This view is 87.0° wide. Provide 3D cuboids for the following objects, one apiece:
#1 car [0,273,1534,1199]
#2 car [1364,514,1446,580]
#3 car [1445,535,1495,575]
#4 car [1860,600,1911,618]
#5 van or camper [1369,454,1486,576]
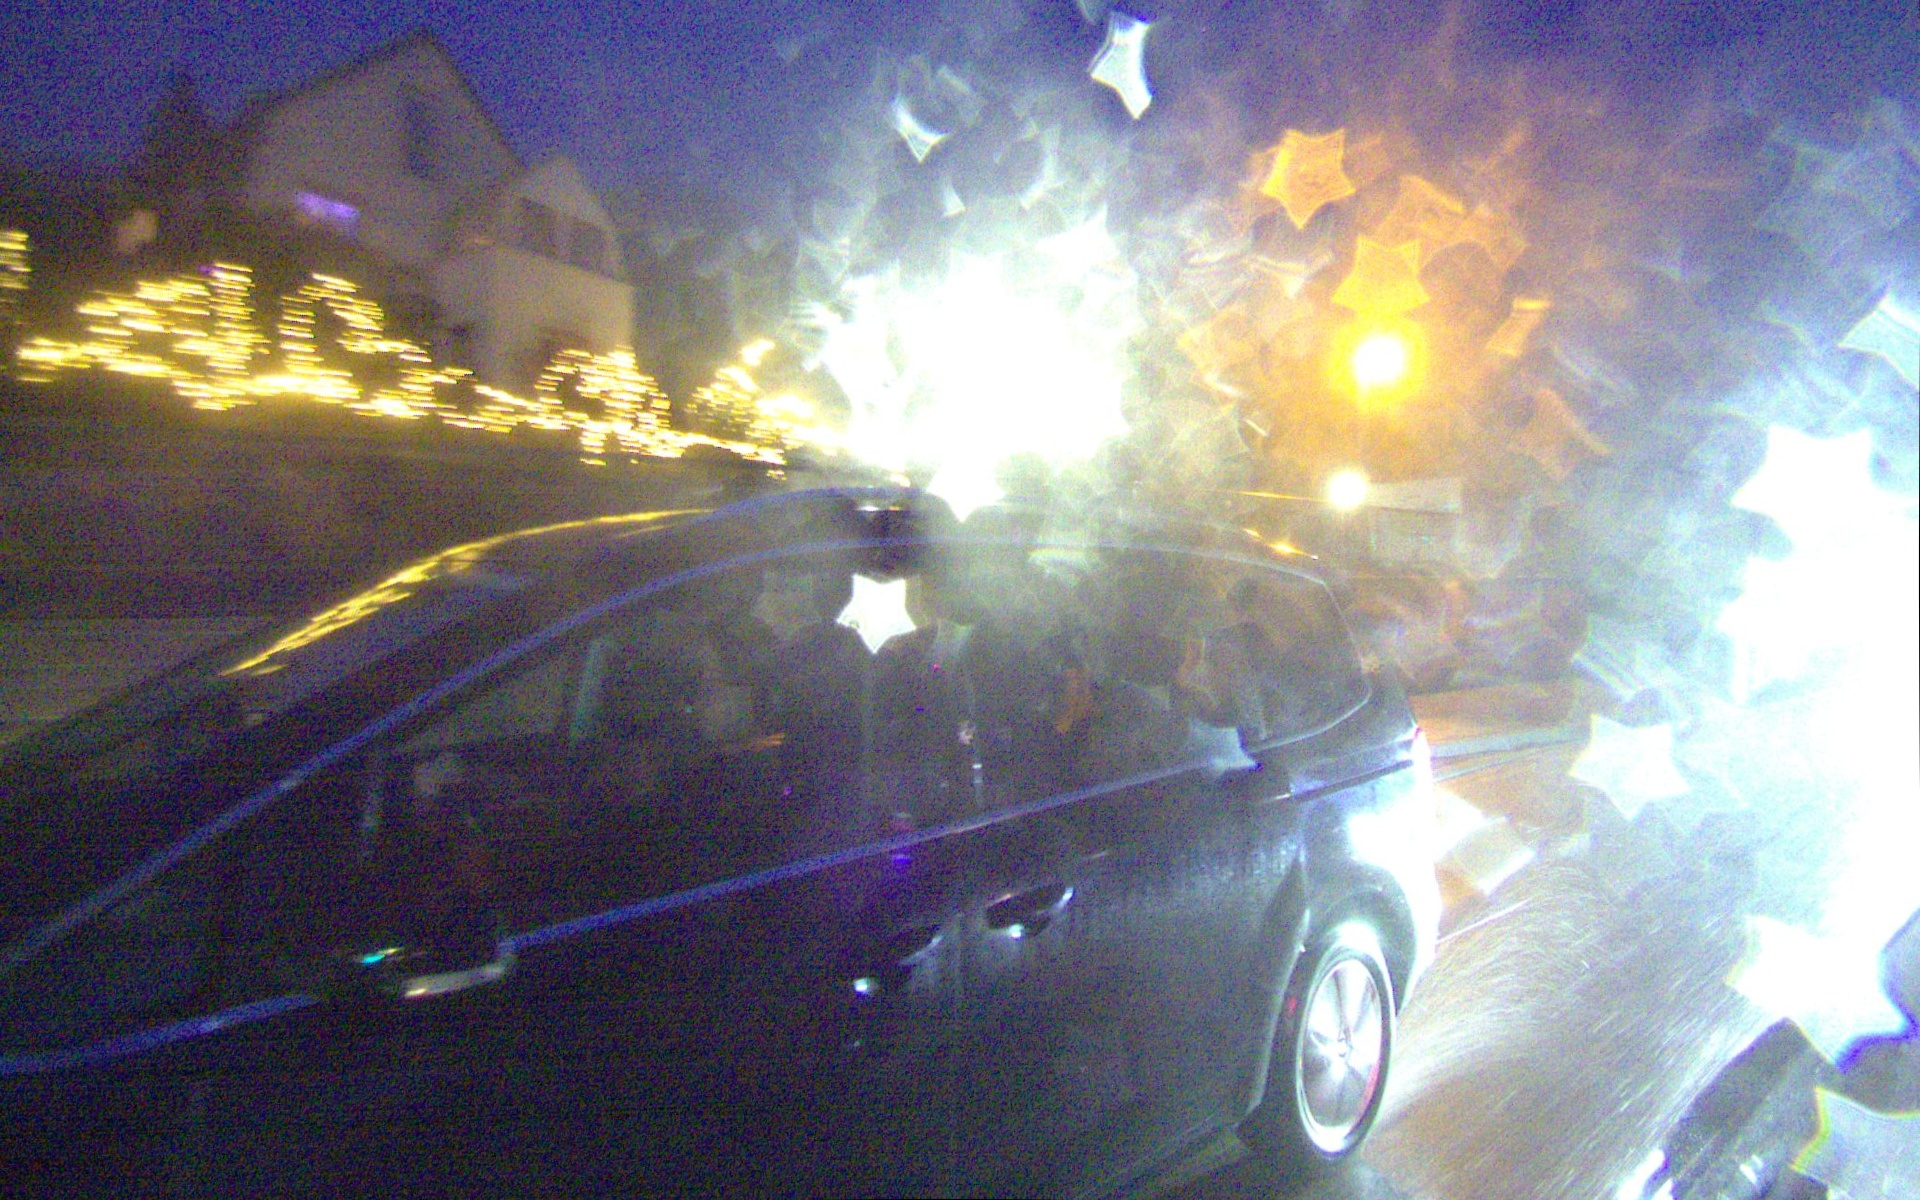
[{"bbox_3d":[-0.548,0.568,2.426,4.855,1.757,1.838,-1,0,-41],"label":"car"},{"bbox_3d":[15.173,-1.721,34.427,1.985,2.039,3.954,-1,0,32],"label":"car"},{"bbox_3d":[28.343,-2.435,56.189,1.986,2.039,3.951,-1,0,34],"label":"car"},{"bbox_3d":[105.447,1.030,115.375,1.960,2.039,4.004,0,0,-5],"label":"car"},{"bbox_3d":[12.757,-2.106,27.378,2.394,2.828,5.712,-1,0,30],"label":"van or camper"}]
